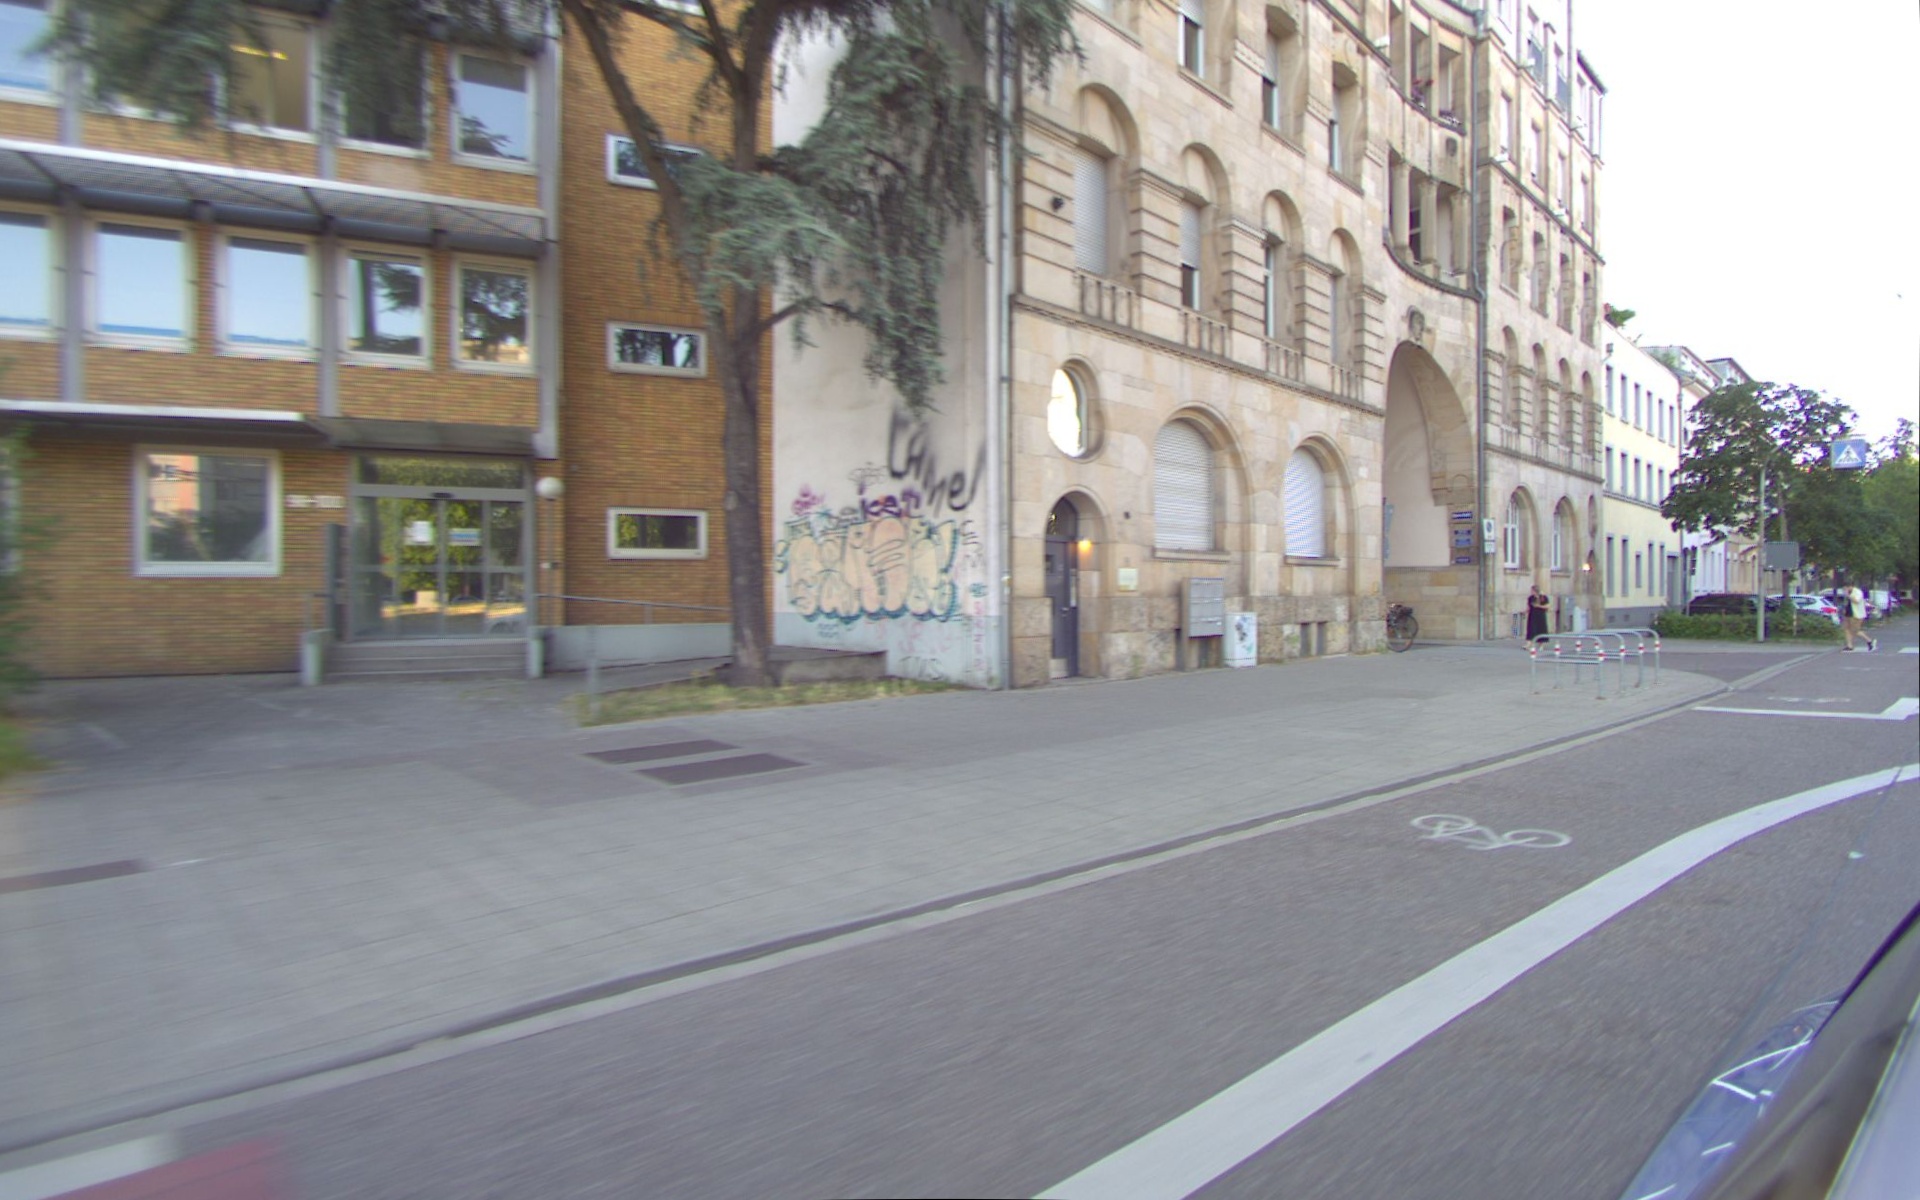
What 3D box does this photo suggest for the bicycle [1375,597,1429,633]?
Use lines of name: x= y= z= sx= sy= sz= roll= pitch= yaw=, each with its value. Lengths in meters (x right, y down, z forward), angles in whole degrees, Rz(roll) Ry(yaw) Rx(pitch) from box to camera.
bicycle: x=13.045 y=0.431 z=29.900 sx=0.354 sy=0.998 sz=1.438 roll=1 pitch=0 yaw=-45

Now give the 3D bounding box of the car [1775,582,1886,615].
car: x=43.407 y=-0.100 z=50.514 sx=1.967 sy=1.571 sz=4.057 roll=1 pitch=0 yaw=-45

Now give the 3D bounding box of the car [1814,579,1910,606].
car: x=56.345 y=-0.497 z=63.245 sx=1.701 sy=1.633 sz=4.387 roll=1 pitch=0 yaw=-45

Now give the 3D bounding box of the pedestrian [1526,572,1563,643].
pedestrian: x=14.563 y=0.188 z=25.221 sx=0.709 sy=1.730 sz=0.576 roll=1 pitch=0 yaw=-41

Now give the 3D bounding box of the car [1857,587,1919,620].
car: x=69.388 y=0.241 z=75.104 sx=1.967 sy=2.323 sz=4.057 roll=1 pitch=0 yaw=-45

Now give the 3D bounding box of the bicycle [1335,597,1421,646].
bicycle: x=9.853 y=0.484 z=23.883 sx=0.422 sy=1.086 sz=1.851 roll=1 pitch=0 yaw=-45

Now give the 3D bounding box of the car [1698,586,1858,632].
car: x=30.172 y=0.285 z=37.421 sx=1.806 sy=1.577 sz=4.390 roll=1 pitch=0 yaw=-42

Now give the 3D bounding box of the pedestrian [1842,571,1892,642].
pedestrian: x=23.536 y=0.175 z=26.260 sx=0.804 sy=1.814 sz=0.593 roll=1 pitch=0 yaw=-12

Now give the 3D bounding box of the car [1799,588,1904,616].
car: x=50.907 y=0.090 z=57.870 sx=1.959 sy=1.571 sz=4.073 roll=1 pitch=0 yaw=-29

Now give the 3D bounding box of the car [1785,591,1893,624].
car: x=45.071 y=0.371 z=51.945 sx=1.967 sy=1.571 sz=4.057 roll=1 pitch=0 yaw=-45

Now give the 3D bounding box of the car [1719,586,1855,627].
car: x=33.530 y=0.234 z=41.100 sx=1.806 sy=1.590 sz=4.061 roll=1 pitch=0 yaw=-42
